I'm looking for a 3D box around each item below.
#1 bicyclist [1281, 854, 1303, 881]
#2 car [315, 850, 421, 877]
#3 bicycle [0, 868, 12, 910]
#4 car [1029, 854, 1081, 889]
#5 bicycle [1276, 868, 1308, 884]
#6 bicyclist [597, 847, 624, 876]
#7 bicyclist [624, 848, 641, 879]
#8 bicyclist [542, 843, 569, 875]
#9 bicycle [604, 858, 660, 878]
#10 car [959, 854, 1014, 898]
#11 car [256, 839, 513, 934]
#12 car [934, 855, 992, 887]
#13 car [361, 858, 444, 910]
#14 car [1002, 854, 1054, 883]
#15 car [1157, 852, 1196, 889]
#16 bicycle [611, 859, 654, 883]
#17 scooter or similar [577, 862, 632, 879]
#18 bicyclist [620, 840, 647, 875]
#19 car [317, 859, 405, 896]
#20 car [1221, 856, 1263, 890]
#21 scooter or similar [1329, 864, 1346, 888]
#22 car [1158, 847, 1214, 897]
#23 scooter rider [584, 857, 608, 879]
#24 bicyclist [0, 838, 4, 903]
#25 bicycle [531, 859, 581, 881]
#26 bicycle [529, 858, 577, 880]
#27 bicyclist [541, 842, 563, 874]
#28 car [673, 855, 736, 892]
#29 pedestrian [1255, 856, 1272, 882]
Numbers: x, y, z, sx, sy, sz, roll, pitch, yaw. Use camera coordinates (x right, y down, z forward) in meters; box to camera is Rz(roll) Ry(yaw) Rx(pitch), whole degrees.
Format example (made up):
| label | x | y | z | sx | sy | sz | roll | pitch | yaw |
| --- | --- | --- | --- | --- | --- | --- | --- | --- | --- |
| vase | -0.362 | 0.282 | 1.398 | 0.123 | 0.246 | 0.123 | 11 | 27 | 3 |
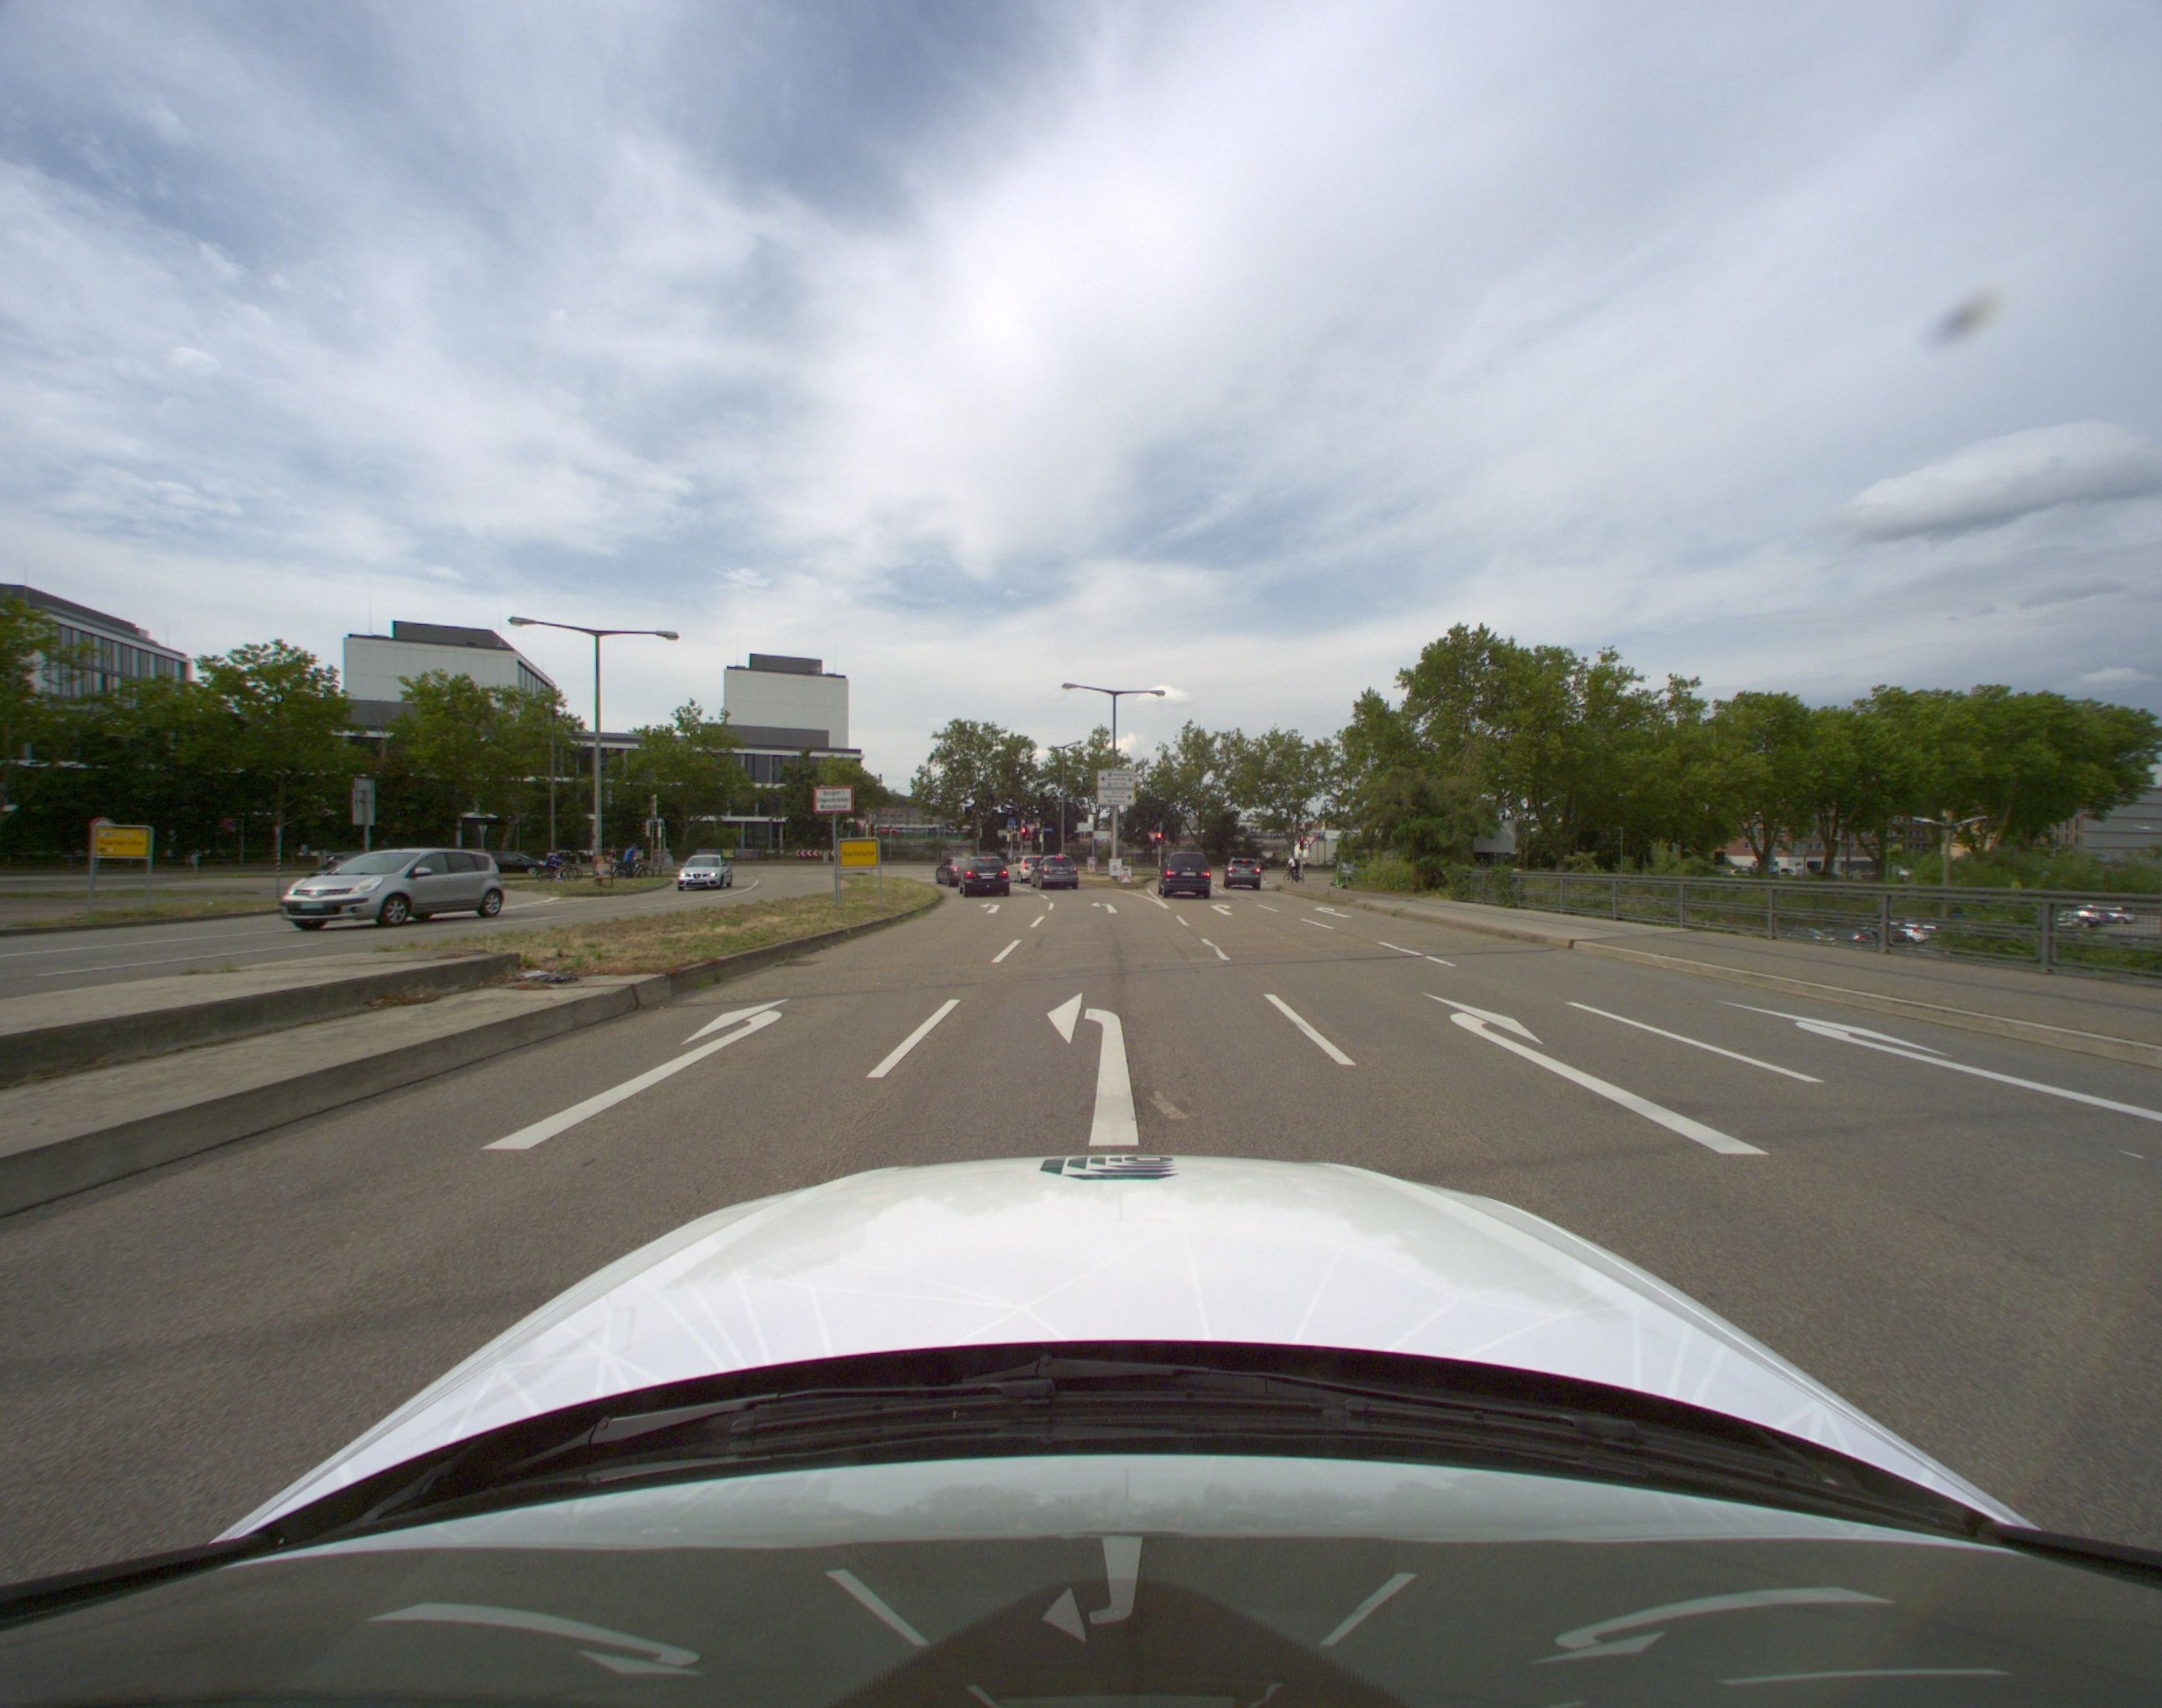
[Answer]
| label | x | y | z | sx | sy | sz | roll | pitch | yaw |
| --- | --- | --- | --- | --- | --- | --- | --- | --- | --- |
| bicyclist | 13.365 | 0.840 | 51.609 | 0.814 | 1.696 | 1.107 | 0 | 0 | -23 |
| car | -39.240 | 0.522 | 44.950 | 4.075 | 1.450 | 1.689 | 0 | 0 | -24 |
| bicycle | -27.695 | 0.904 | 20.357 | 0.690 | 1.053 | 1.972 | 1 | 0 | -38 |
| car | -1.276 | 0.767 | 38.021 | 1.743 | 1.546 | 4.064 | 0 | 0 | -13 |
| bicycle | 13.348 | 1.400 | 51.642 | 0.812 | 0.952 | 2.218 | 0 | 0 | -23 |
| bicyclist | -23.694 | 0.350 | 41.037 | 1.122 | 1.436 | 0.641 | -1 | 1 | -36 |
| bicyclist | -23.407 | 0.500 | 42.513 | 0.784 | 1.581 | 0.649 | 0 | 1 | -28 |
| bicyclist | -25.026 | 0.229 | 38.789 | 1.024 | 1.539 | 0.621 | 0 | 1 | -39 |
| bicycle | -21.932 | 0.667 | 39.813 | 0.801 | 0.952 | 2.249 | 0 | 0 | 36 |
| car | -3.837 | 0.821 | 32.600 | 1.759 | 1.575 | 4.019 | 1 | 1 | -13 |
| car | -13.792 | 0.592 | 16.506 | 1.737 | 1.658 | 4.076 | -1 | 0 | -2 |
| car | -5.928 | 0.804 | 40.515 | 1.825 | 1.414 | 4.742 | 1 | 0 | -22 |
| car | -20.629 | 0.880 | 24.884 | 1.756 | 1.410 | 3.833 | -1 | -1 | -37 |
| car | -2.942 | 0.749 | 44.605 | 1.747 | 1.482 | 4.054 | 0 | 0 | -20 |
| car | 4.498 | 0.743 | 38.269 | 1.682 | 1.585 | 4.164 | 2 | 0 | 7 |
| bicycle | -23.403 | 0.891 | 42.532 | 1.912 | 1.210 | 0.637 | 0 | 1 | -28 |
| scooter or similar | -25.319 | 0.876 | 43.330 | 2.400 | 0.849 | 0.799 | -1 | 1 | -44 |
| bicyclist | -21.901 | 0.164 | 39.861 | 0.801 | 1.656 | 0.889 | 0 | 0 | 36 |
| car | -30.317 | 0.949 | 34.267 | 4.296 | 1.446 | 1.839 | 0 | -1 | 35 |
| car | 8.390 | 0.953 | 42.722 | 1.741 | 1.643 | 4.145 | 2 | 0 | 6 |
| scooter or similar | 12.924 | 1.087 | 41.041 | 0.396 | 1.183 | 1.278 | 0 | -1 | -5 |
| car | 3.973 | 0.674 | 31.369 | 1.743 | 1.725 | 4.140 | 2 | 0 | 2 |
| scooter rider | -25.626 | 0.730 | 43.029 | 0.922 | 1.137 | 0.799 | 0 | 1 | -44 |
| bicyclist | -27.716 | 0.418 | 20.397 | 0.690 | 1.672 | 0.837 | 1 | 0 | -39 |
| bicycle | -25.013 | 0.753 | 38.814 | 1.917 | 1.013 | 0.621 | 0 | 1 | -39 |
| bicycle | -25.597 | 0.715 | 39.500 | 1.917 | 1.013 | 0.621 | 0 | 1 | -40 |
| bicyclist | -25.634 | 0.171 | 39.472 | 0.845 | 1.529 | 0.621 | 0 | 1 | -39 |
| car | -15.452 | 0.760 | 33.596 | 1.618 | 1.410 | 3.842 | -1 | 0 | -14 |
| pedestrian | 12.290 | 0.973 | 54.870 | 1.040 | 1.710 | 0.856 | 1 | 0 | 12 |
